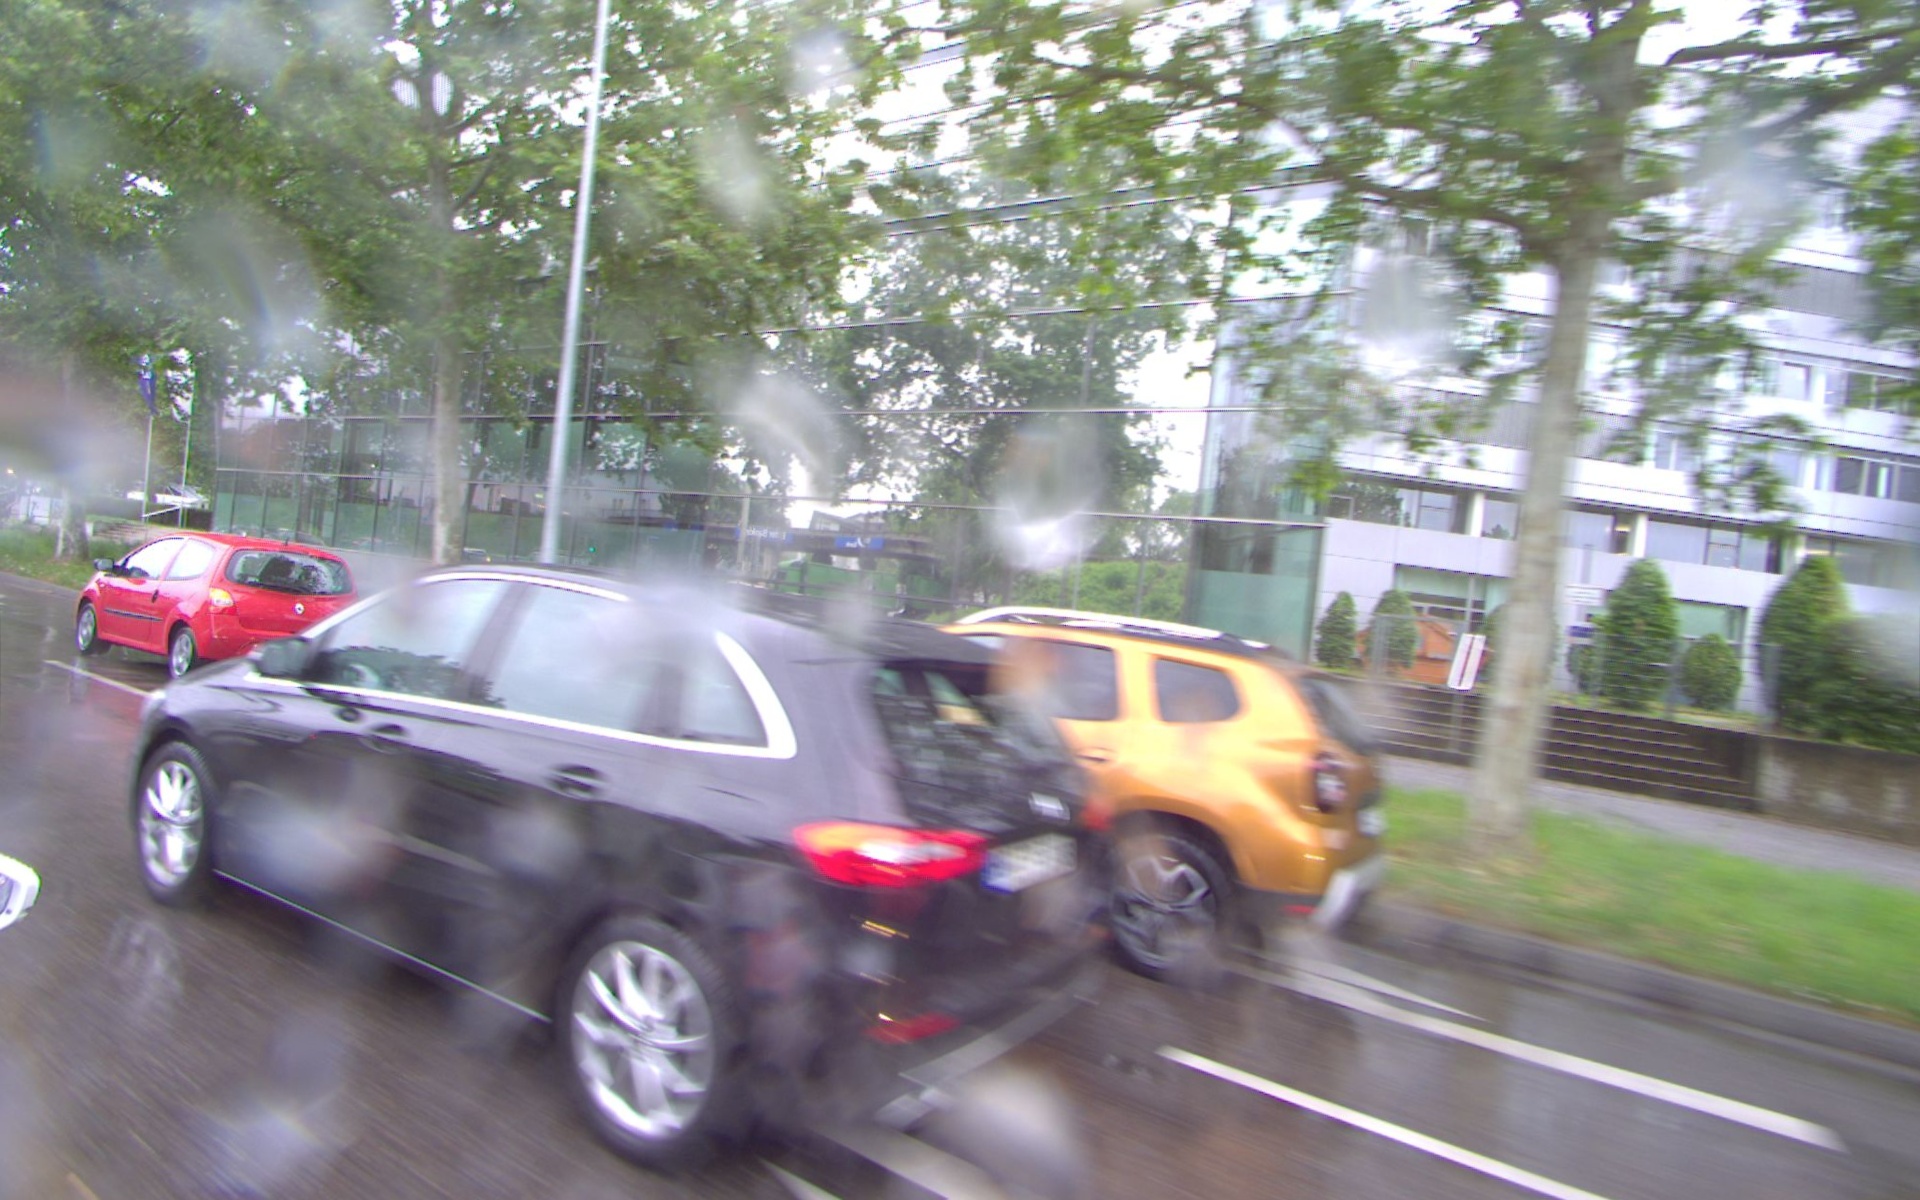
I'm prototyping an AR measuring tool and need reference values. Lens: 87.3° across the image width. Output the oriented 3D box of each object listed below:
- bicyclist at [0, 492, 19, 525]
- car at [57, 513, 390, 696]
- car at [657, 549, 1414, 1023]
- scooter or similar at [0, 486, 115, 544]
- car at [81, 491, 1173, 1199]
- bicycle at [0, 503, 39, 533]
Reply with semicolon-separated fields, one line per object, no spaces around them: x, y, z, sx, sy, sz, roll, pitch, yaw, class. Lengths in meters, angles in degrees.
-44.289;-4.266;46.689;0.612;1.436;0.469;7;0;-17;bicyclist
-7.888;0.030;10.733;3.332;1.480;1.572;7;-1;31;car
0.326;0.833;6.078;4.079;1.704;1.679;7;-2;32;car
-50.754;-4.753;56.044;5.227;2.475;1.893;7;0;-9;scooter or similar
-1.463;0.593;3.954;4.022;1.573;1.751;6;-1;31;car
-44.395;-3.851;46.919;0.612;1.200;3.364;7;-1;-16;bicycle
